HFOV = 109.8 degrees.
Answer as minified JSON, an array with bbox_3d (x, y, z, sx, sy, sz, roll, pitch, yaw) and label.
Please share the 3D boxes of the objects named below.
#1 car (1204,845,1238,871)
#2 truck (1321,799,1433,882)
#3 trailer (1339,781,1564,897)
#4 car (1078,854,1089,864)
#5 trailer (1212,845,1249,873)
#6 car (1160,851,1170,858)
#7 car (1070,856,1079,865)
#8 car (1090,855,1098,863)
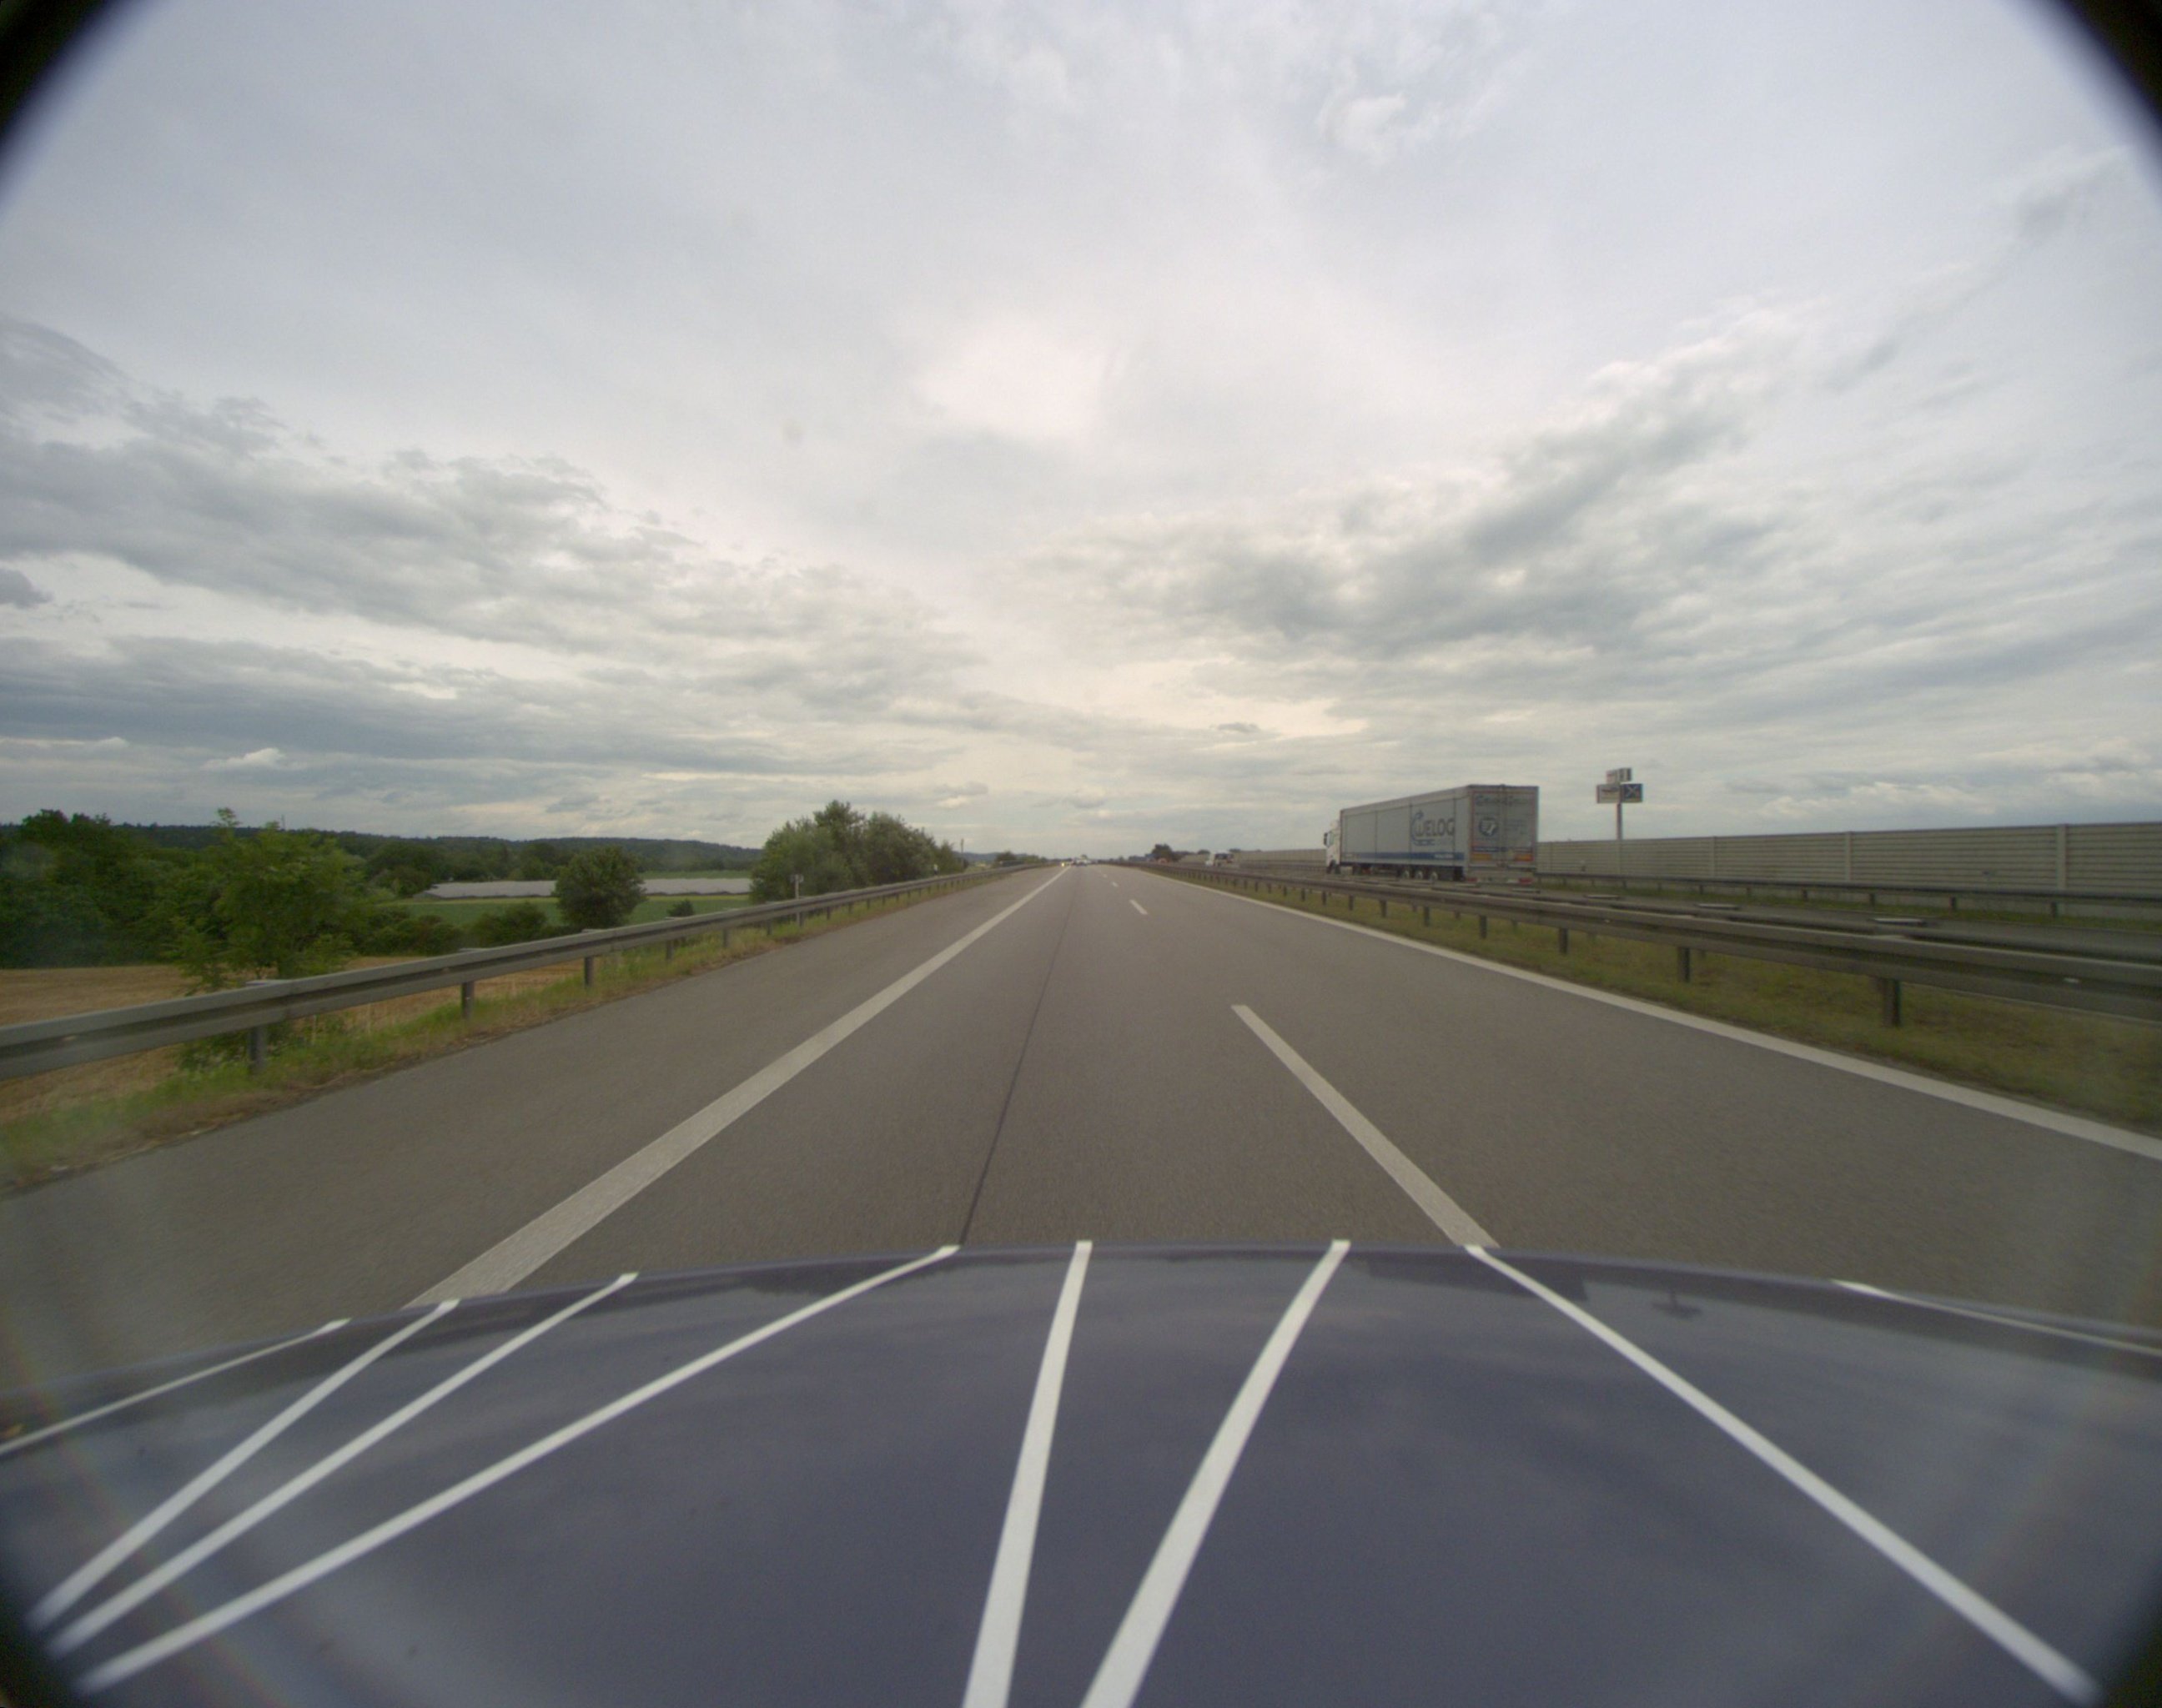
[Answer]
[{"bbox_3d":[11.139,0.301,60.753,1.819,1.836,4.180,-6,1,0],"label":"car"},{"bbox_3d":[15.428,-0.663,40.291,3.117,3.991,7.323,1,1,0],"label":"truck"},{"bbox_3d":[15.409,-0.568,33.727,3.187,4.052,14.022,1,0,0],"label":"trailer"},{"bbox_3d":[0.430,0.946,139.785,1.850,1.664,4.200,0,-1,0],"label":"car"},{"bbox_3d":[11.103,0.326,56.716,1.819,1.836,3.862,-6,1,0],"label":"trailer"},{"bbox_3d":[18.521,0.163,167.713,1.708,1.486,4.566,0,0,0],"label":"car"},{"bbox_3d":[-1.385,1.513,168.609,1.851,1.850,3.999,0,-1,-3],"label":"car"},{"bbox_3d":[3.006,1.195,174.104,1.850,1.664,4.200,0,-1,0],"label":"car"}]
